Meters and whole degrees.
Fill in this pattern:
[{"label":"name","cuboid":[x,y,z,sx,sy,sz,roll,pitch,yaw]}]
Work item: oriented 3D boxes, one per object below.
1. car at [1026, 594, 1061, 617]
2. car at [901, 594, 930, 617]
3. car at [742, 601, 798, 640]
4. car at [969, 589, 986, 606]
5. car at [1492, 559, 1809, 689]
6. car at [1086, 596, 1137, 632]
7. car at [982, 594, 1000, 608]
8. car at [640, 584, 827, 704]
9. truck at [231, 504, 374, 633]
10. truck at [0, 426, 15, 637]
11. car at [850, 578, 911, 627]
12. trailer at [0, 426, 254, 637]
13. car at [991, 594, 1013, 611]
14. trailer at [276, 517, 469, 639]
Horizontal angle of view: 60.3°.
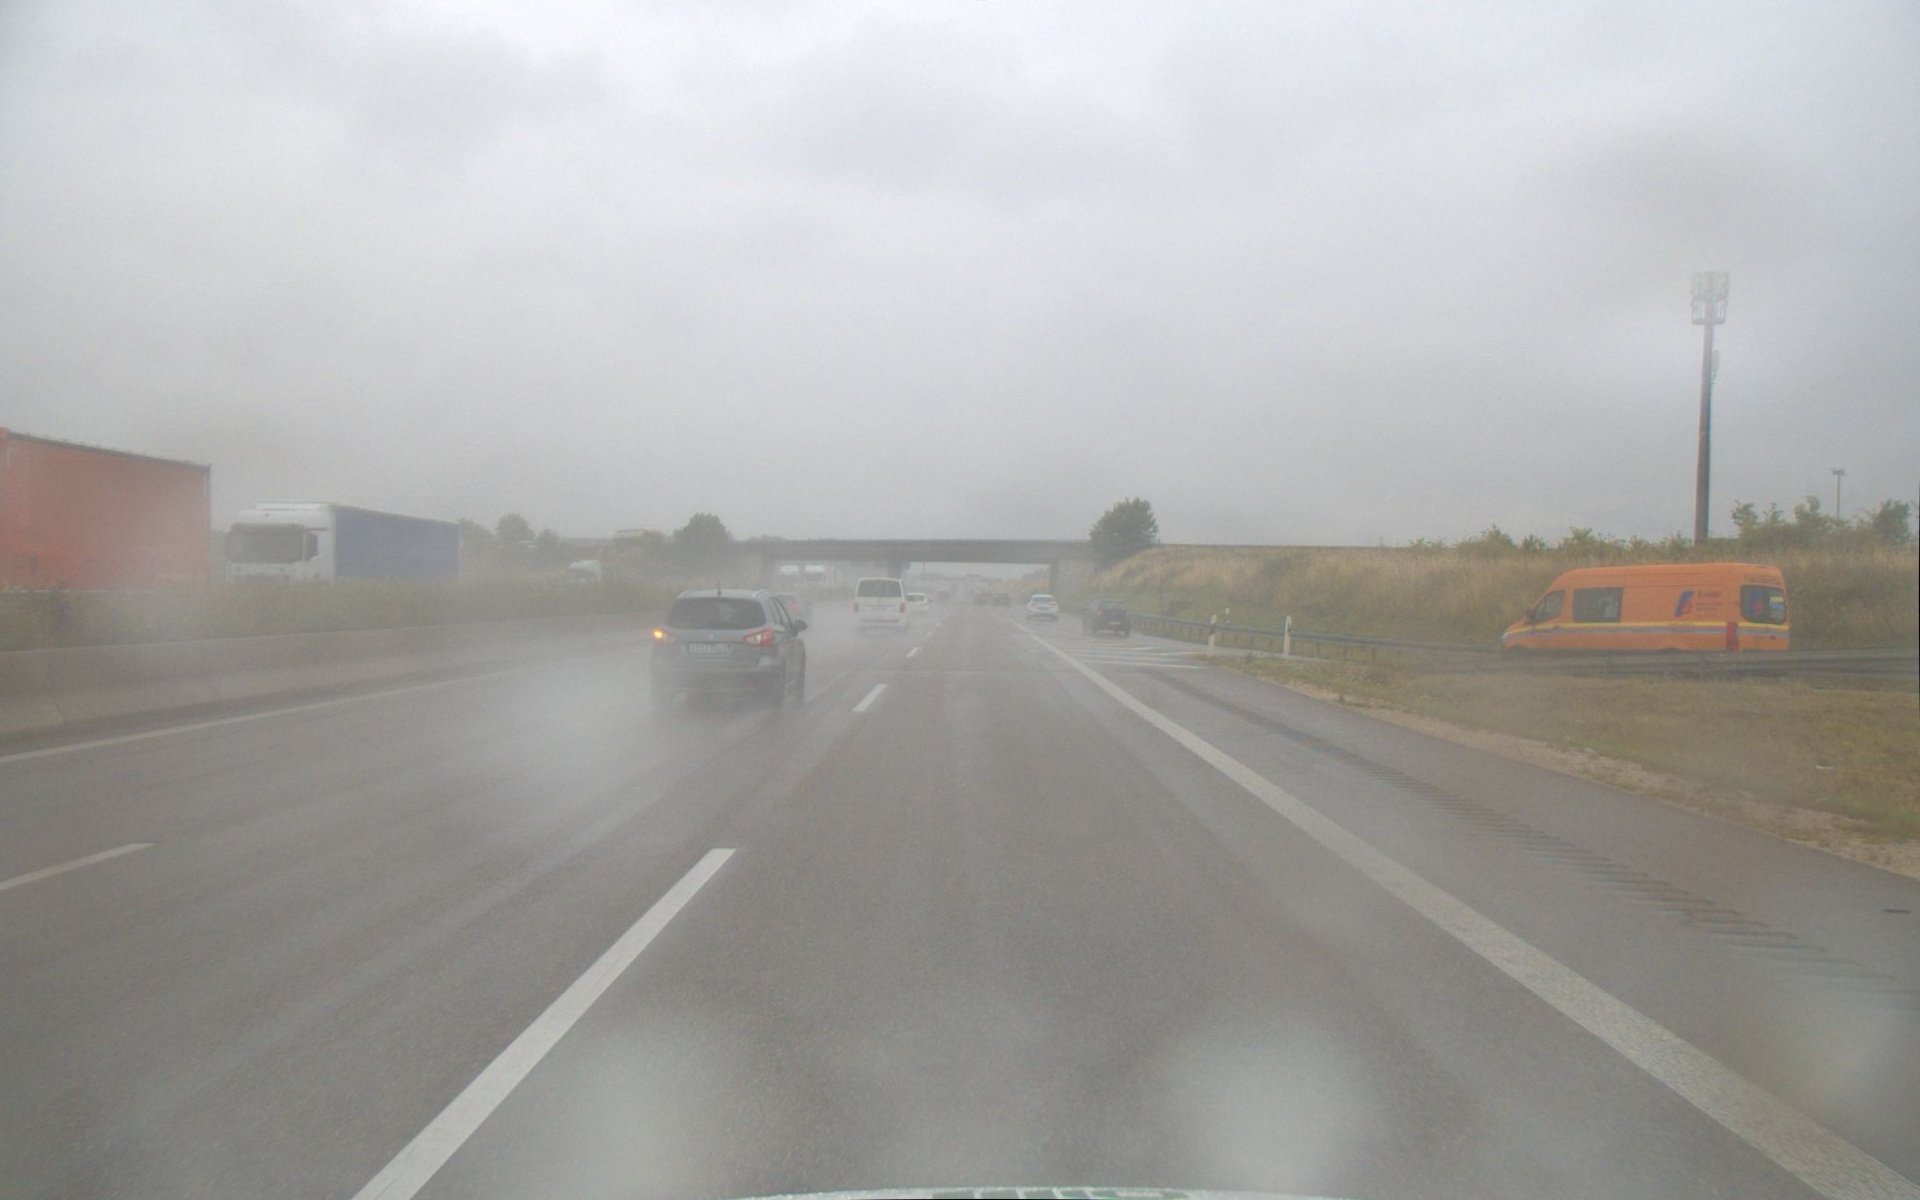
[{"label":"car","cuboid":[4.858,0.331,96.762,1.952,1.288,4.001,1,0,2]},{"label":"car","cuboid":[-2.465,0.290,92.569,1.437,1.229,2.991,2,-1,1]},{"label":"car","cuboid":[-7.142,0.762,62.579,1.579,1.378,4.000,1,0,1]},{"label":"car","cuboid":[2.219,-0.280,208.453,1.953,2.138,3.998,0,0,-2]},{"label":"car","cuboid":[15.391,0.454,37.430,2.038,2.661,6.821,2,0,-29]},{"label":"car","cuboid":[6.465,0.581,70.988,1.697,1.446,3.656,1,0,-3]},{"label":"car","cuboid":[3.416,0.073,182.281,1.953,1.489,4.000,0,0,0]},{"label":"car","cuboid":[-3.113,0.568,23.722,1.808,1.539,4.758,0,0,3]},{"label":"truck","cuboid":[-21.351,-0.991,54.009,2.435,3.995,5.609,0,0,0]},{"label":"truck","cuboid":[-17.584,-1.115,22.833,3.199,3.501,10.130,0,0,0]},{"label":"car","cuboid":[-2.719,0.083,57.306,1.858,1.613,4.000,1,0,0]},{"label":"trailer","cuboid":[-17.488,-1.157,32.380,3.190,3.517,9.443,0,0,1]},{"label":"car","cuboid":[3.883,0.194,152.539,1.764,1.534,3.998,0,0,-2]},{"label":"trailer","cuboid":[-21.375,-0.750,61.253,2.386,4.008,13.491,0,0,0]}]
